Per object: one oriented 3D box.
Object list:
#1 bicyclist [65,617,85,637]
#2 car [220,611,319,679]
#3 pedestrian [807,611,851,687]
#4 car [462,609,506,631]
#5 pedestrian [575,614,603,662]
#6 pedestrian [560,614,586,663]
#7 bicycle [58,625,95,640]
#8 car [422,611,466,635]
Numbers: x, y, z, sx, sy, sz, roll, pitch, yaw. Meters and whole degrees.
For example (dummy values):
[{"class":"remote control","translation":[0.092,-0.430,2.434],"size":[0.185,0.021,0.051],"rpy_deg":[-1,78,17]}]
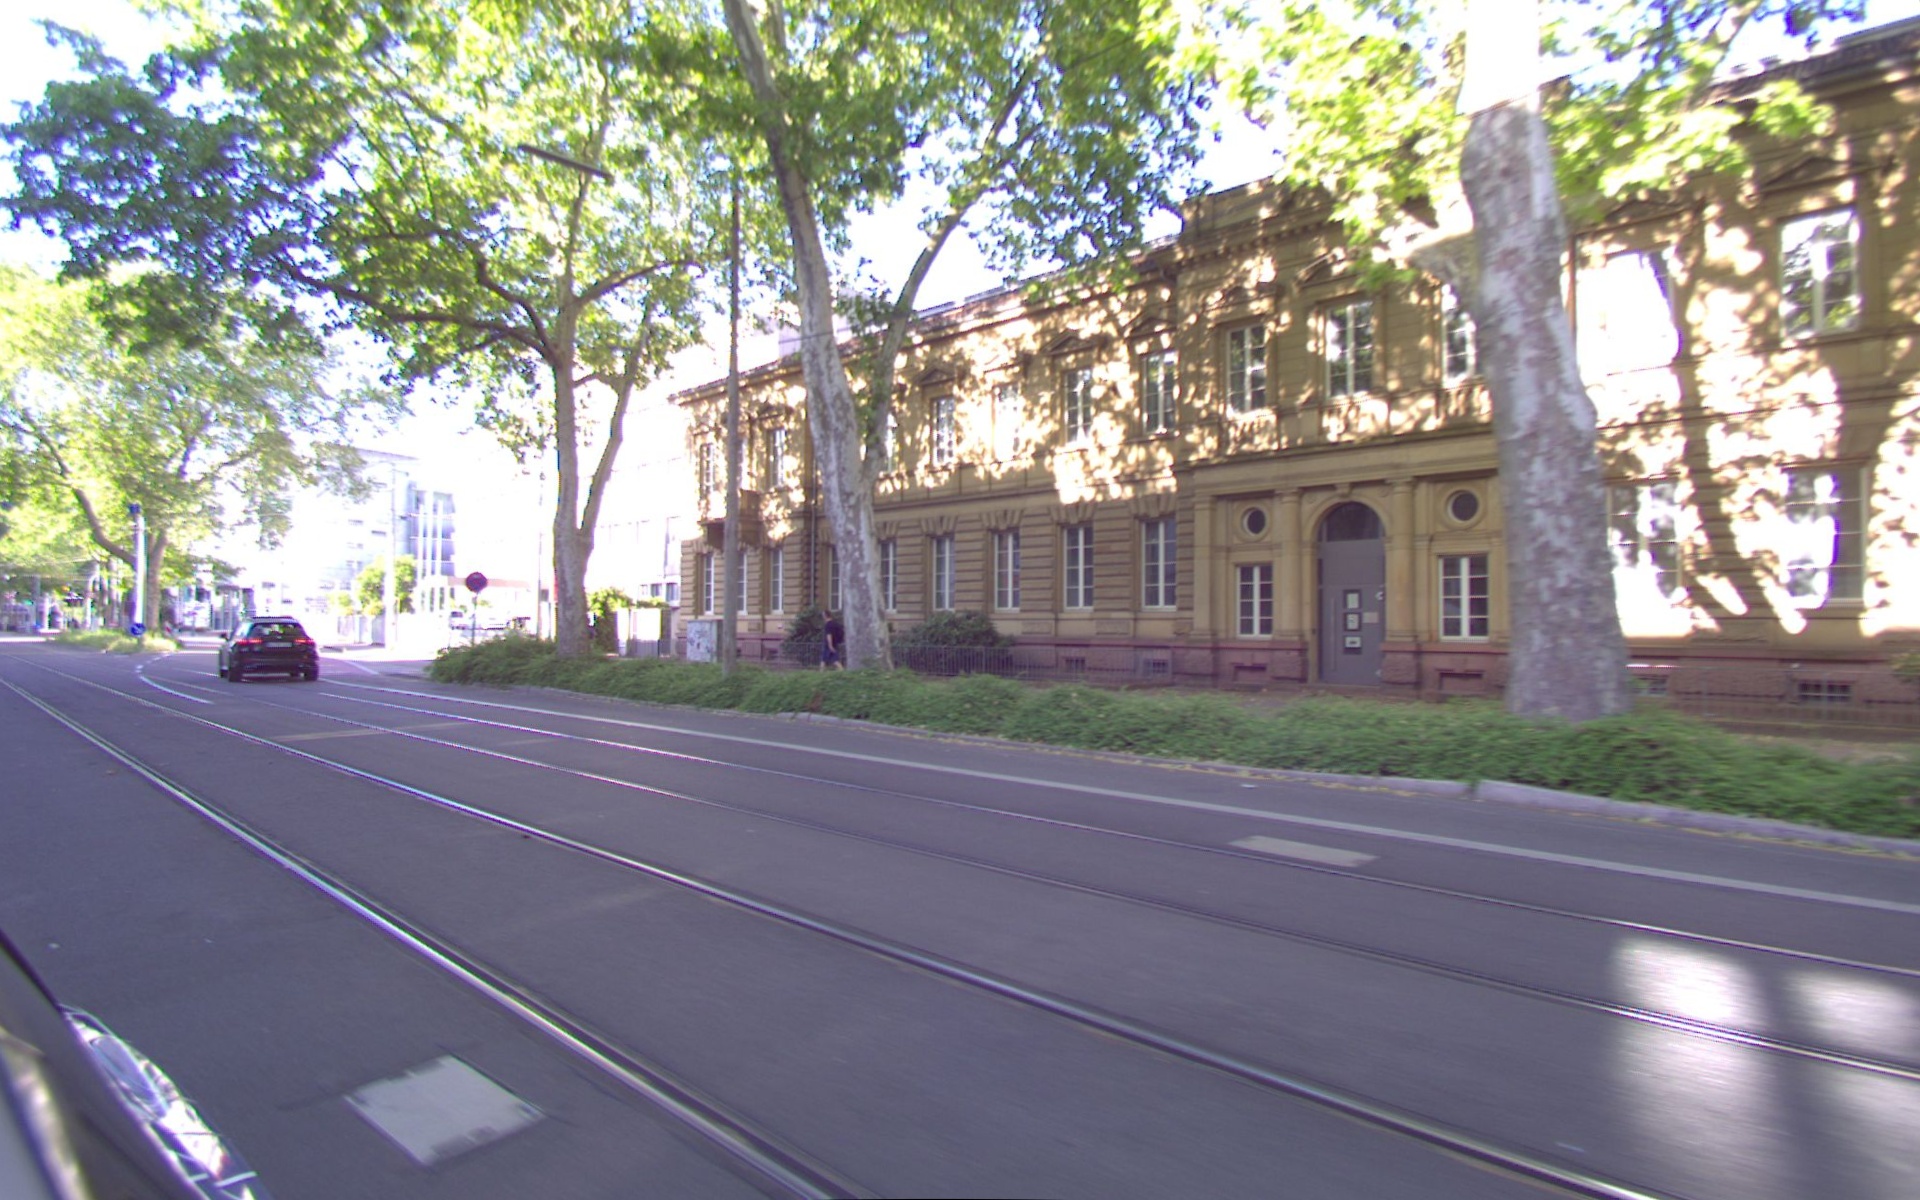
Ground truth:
[{"class":"bicyclist","translation":[-69.390,2.138,79.343],"size":[0.759,1.588,0.995],"rpy_deg":[-1,-2,39]},{"class":"car","translation":[-18.336,1.191,26.786],"size":[1.842,1.642,4.569],"rpy_deg":[2,-3,-38]},{"class":"pedestrian","translation":[-3.301,1.228,25.531],"size":[0.836,1.863,0.713],"rpy_deg":[-1,-2,35]},{"class":"car","translation":[-38.877,1.607,82.566],"size":[3.999,1.765,1.828],"rpy_deg":[-1,-2,42]},{"class":"pedestrian","translation":[-13.494,1.385,36.802],"size":[0.660,1.710,0.665],"rpy_deg":[-1,-2,35]},{"class":"pedestrian","translation":[-13.859,1.371,36.235],"size":[0.656,1.710,0.627],"rpy_deg":[-1,-2,41]},{"class":"bicycle","translation":[-69.333,2.546,79.400],"size":[0.759,1.137,2.057],"rpy_deg":[-1,-2,38]},{"class":"car","translation":[-41.247,1.822,80.833],"size":[3.999,1.831,1.828],"rpy_deg":[-1,-2,42]}]
